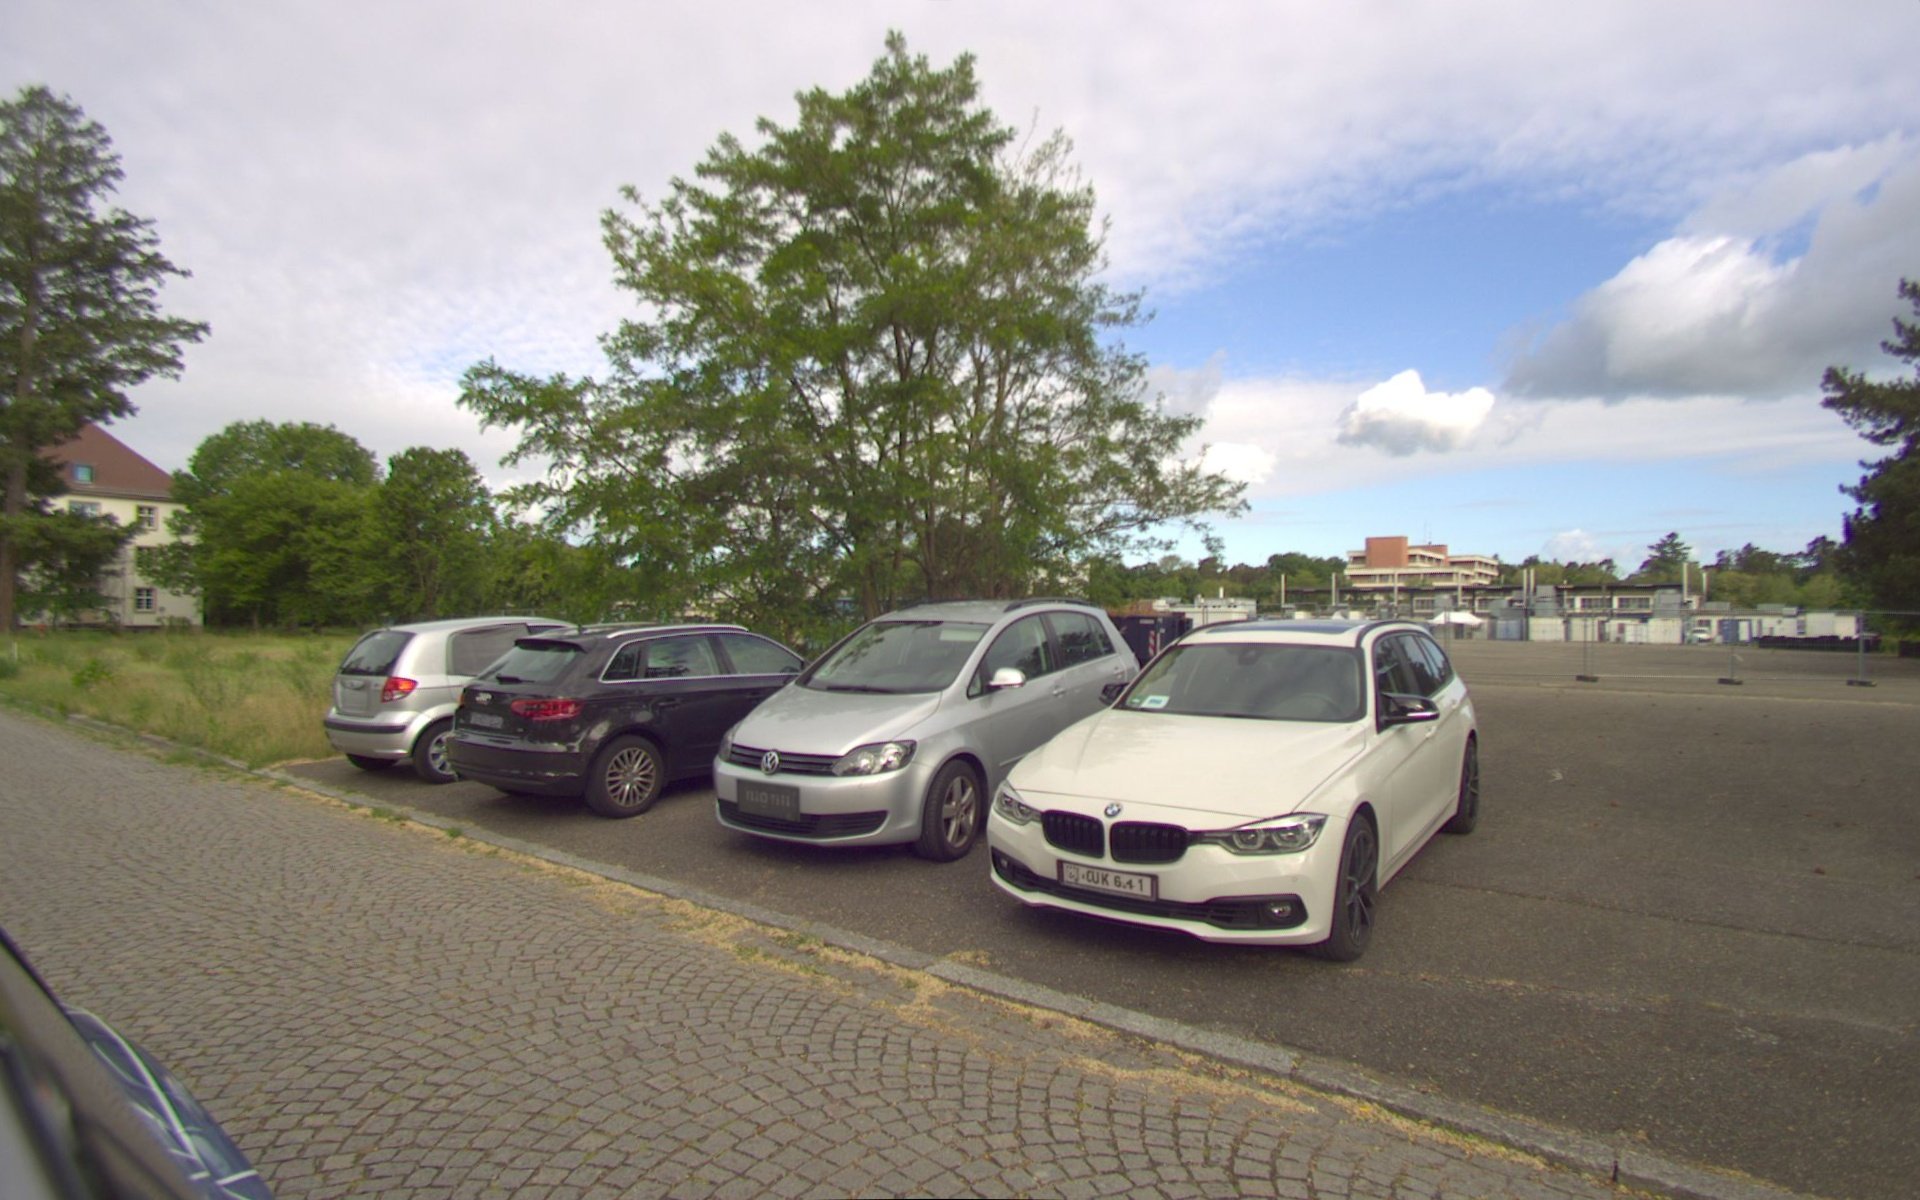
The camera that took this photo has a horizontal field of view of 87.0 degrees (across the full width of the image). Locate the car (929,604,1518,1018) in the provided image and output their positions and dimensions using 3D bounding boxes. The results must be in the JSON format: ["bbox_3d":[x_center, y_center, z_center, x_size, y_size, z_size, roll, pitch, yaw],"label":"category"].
[{"bbox_3d":[2.000,0.814,6.215,1.863,1.499,4.696,-2,-1,37],"label":"car"}]

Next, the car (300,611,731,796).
[{"bbox_3d":[-4.465,0.910,10.715,1.582,1.481,3.914,-1,0,36],"label":"car"}]

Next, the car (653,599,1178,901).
[{"bbox_3d":[-0.008,0.818,7.786,1.867,1.610,4.328,-1,0,33],"label":"car"}]

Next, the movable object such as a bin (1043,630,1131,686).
[{"bbox_3d":[2.755,1.228,21.693,0.857,1.134,2.240,0,-3,37],"label":"movable object such as a bin"}]

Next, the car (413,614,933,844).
[{"bbox_3d":[-2.282,0.909,9.165,1.719,1.435,4.394,-1,1,37],"label":"car"}]
